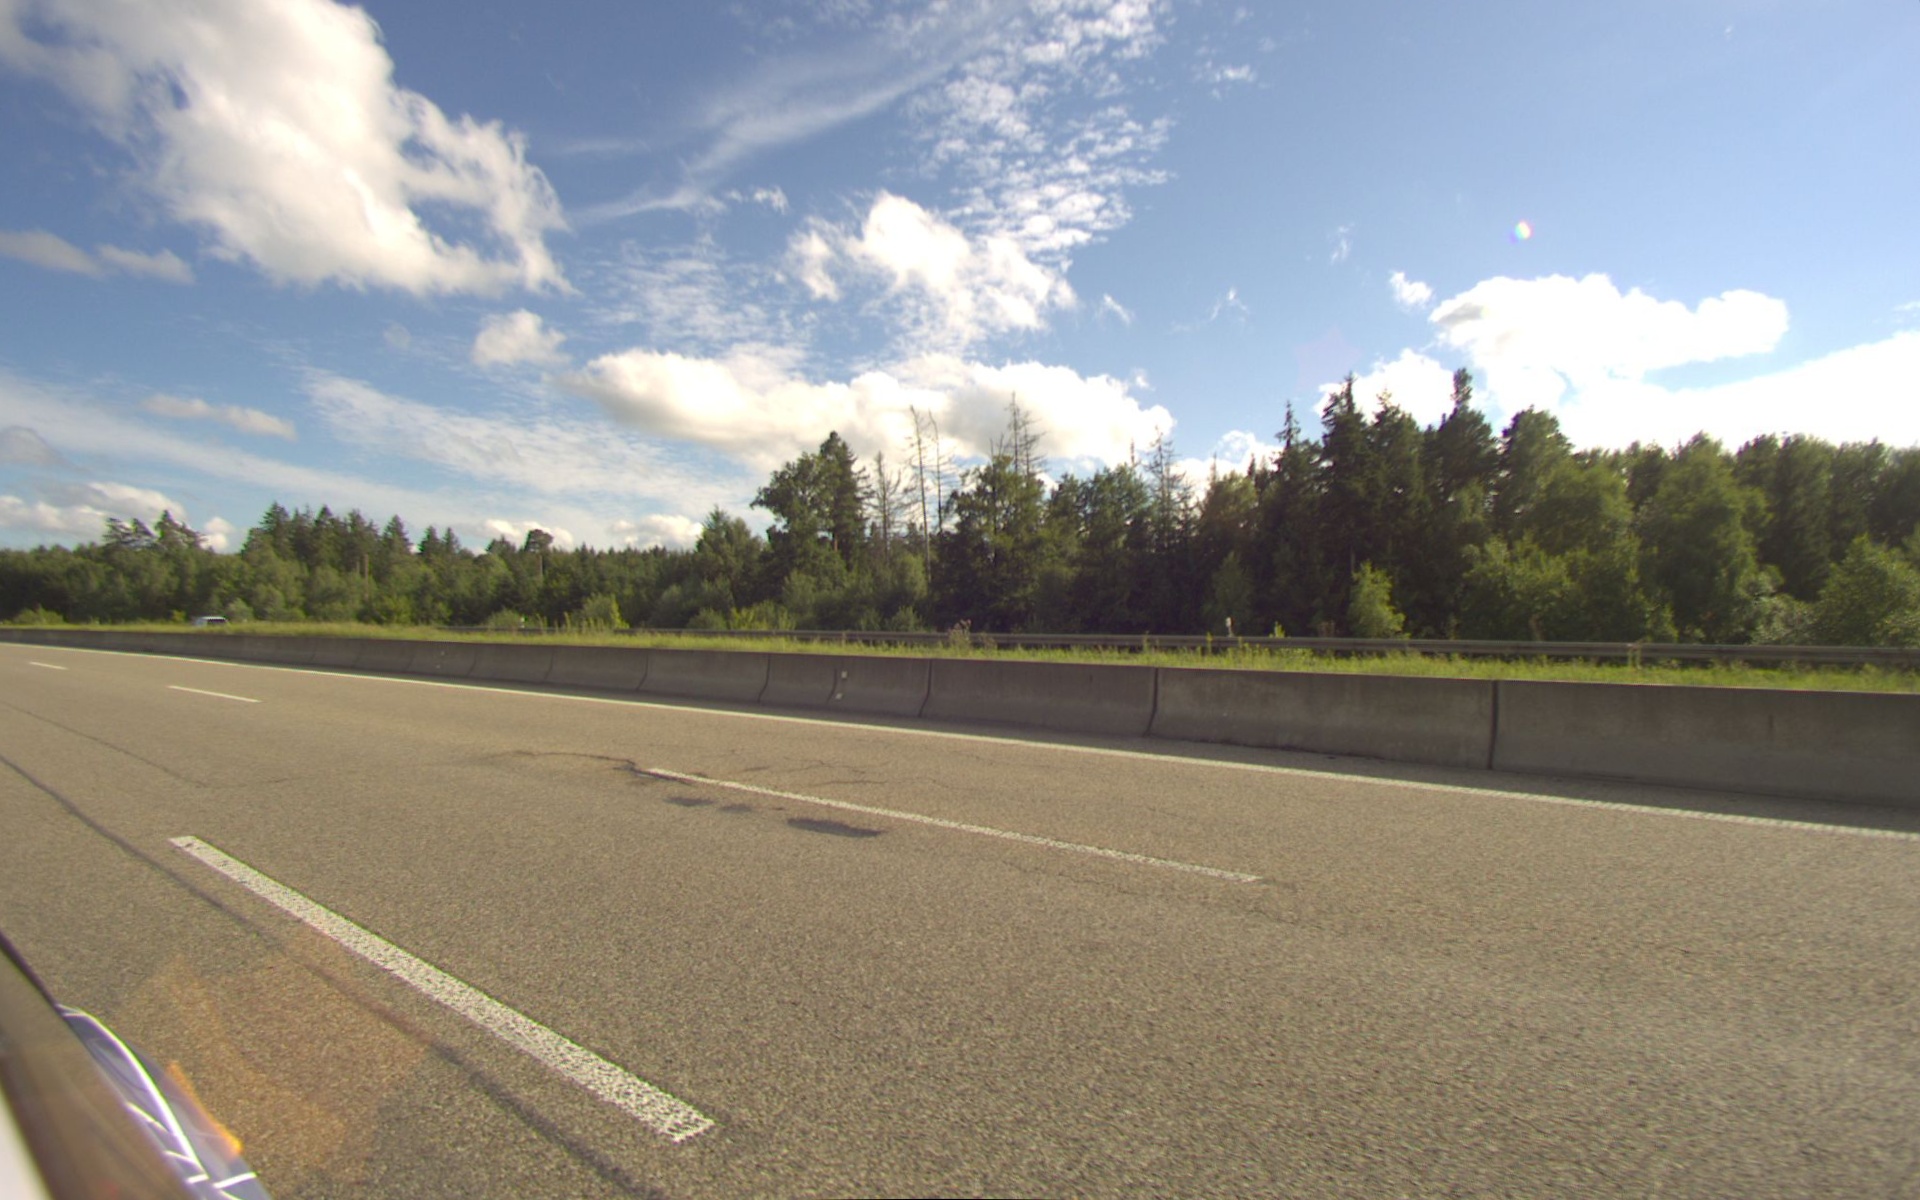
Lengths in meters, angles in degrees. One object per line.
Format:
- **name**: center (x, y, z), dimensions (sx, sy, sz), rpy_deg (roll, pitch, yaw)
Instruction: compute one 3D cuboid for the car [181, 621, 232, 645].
- **car**: center (-48.398, 2.087, 64.968), dimensions (3.997, 1.468, 1.822), rpy_deg (-1, -1, 41)
